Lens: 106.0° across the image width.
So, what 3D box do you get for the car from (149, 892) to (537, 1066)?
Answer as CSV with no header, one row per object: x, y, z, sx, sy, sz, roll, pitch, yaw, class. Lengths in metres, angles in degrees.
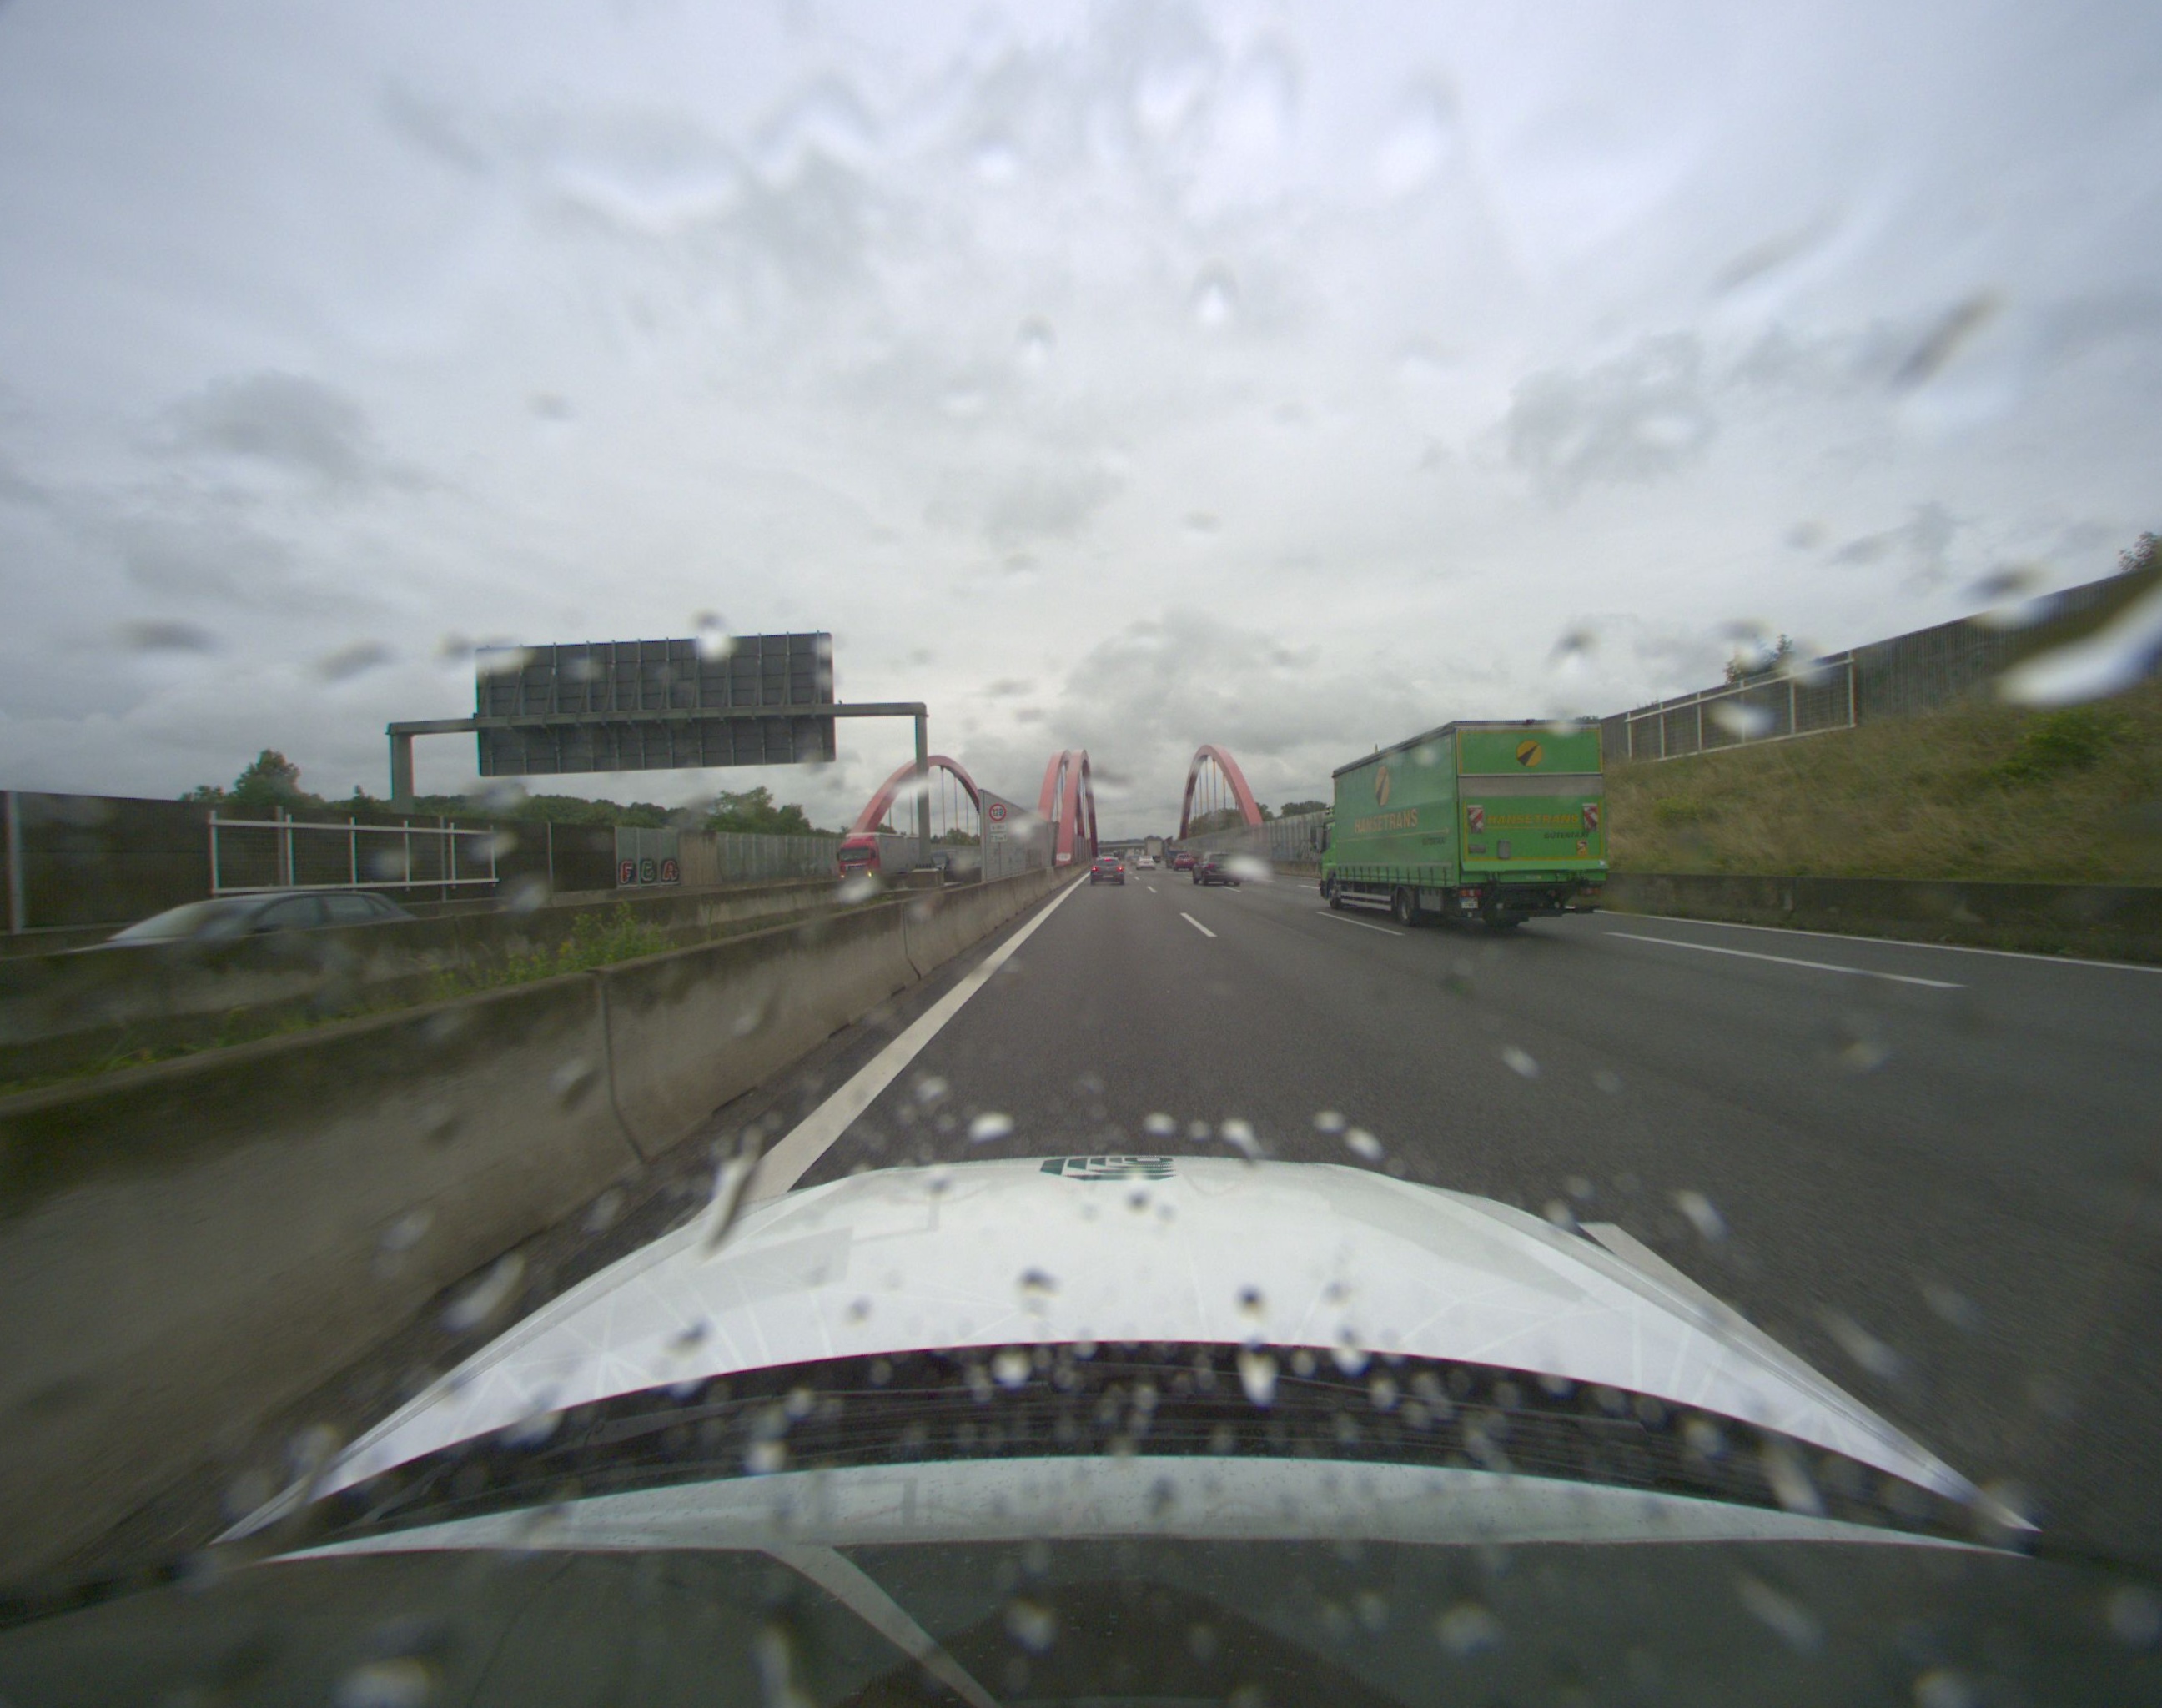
-10.348,1.622,11.932,1.860,1.922,4.004,-1,0,4,car

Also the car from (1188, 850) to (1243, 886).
6.629,0.670,40.490,1.907,1.670,4.100,-1,0,-3,car

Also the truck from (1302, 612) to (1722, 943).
8.422,-1.212,18.675,3.982,5.266,11.224,-1,0,2,truck

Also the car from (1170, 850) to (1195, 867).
9.630,0.433,77.755,1.950,1.647,4.001,0,0,1,car

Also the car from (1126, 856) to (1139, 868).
6.985,1.025,110.939,1.696,1.543,3.840,-1,0,2,car

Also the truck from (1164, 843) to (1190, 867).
10.675,0.103,91.315,2.352,2.506,6.147,-1,0,2,truck

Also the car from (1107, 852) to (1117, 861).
6.504,0.513,169.836,1.986,1.815,4.002,-1,0,2,car

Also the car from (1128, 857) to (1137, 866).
11.593,1.613,184.150,1.986,2.014,4.002,0,0,2,car

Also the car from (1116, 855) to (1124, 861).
10.274,0.995,214.393,1.985,1.624,4.004,-1,0,4,car

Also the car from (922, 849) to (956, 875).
-12.223,0.658,70.257,1.986,2.112,4.533,-1,0,2,car

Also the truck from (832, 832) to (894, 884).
-16.674,0.280,62.606,2.973,3.753,5.918,-1,0,1,truck

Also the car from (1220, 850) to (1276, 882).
8.753,0.604,43.198,1.986,1.619,5.329,0,0,1,car

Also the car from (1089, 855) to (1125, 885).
1.375,0.789,42.510,1.757,1.453,4.002,-1,0,2,car

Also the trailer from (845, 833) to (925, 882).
-16.498,0.268,69.961,2.973,3.728,14.312,-1,0,1,trailer

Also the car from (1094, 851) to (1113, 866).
2.528,0.519,91.674,1.987,1.585,4.000,-2,0,1,car

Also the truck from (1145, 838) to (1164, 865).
13.184,-0.451,146.857,3.033,4.734,7.683,0,0,2,truck

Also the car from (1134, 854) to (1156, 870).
6.508,0.798,82.861,1.986,1.486,4.001,-1,0,1,car
